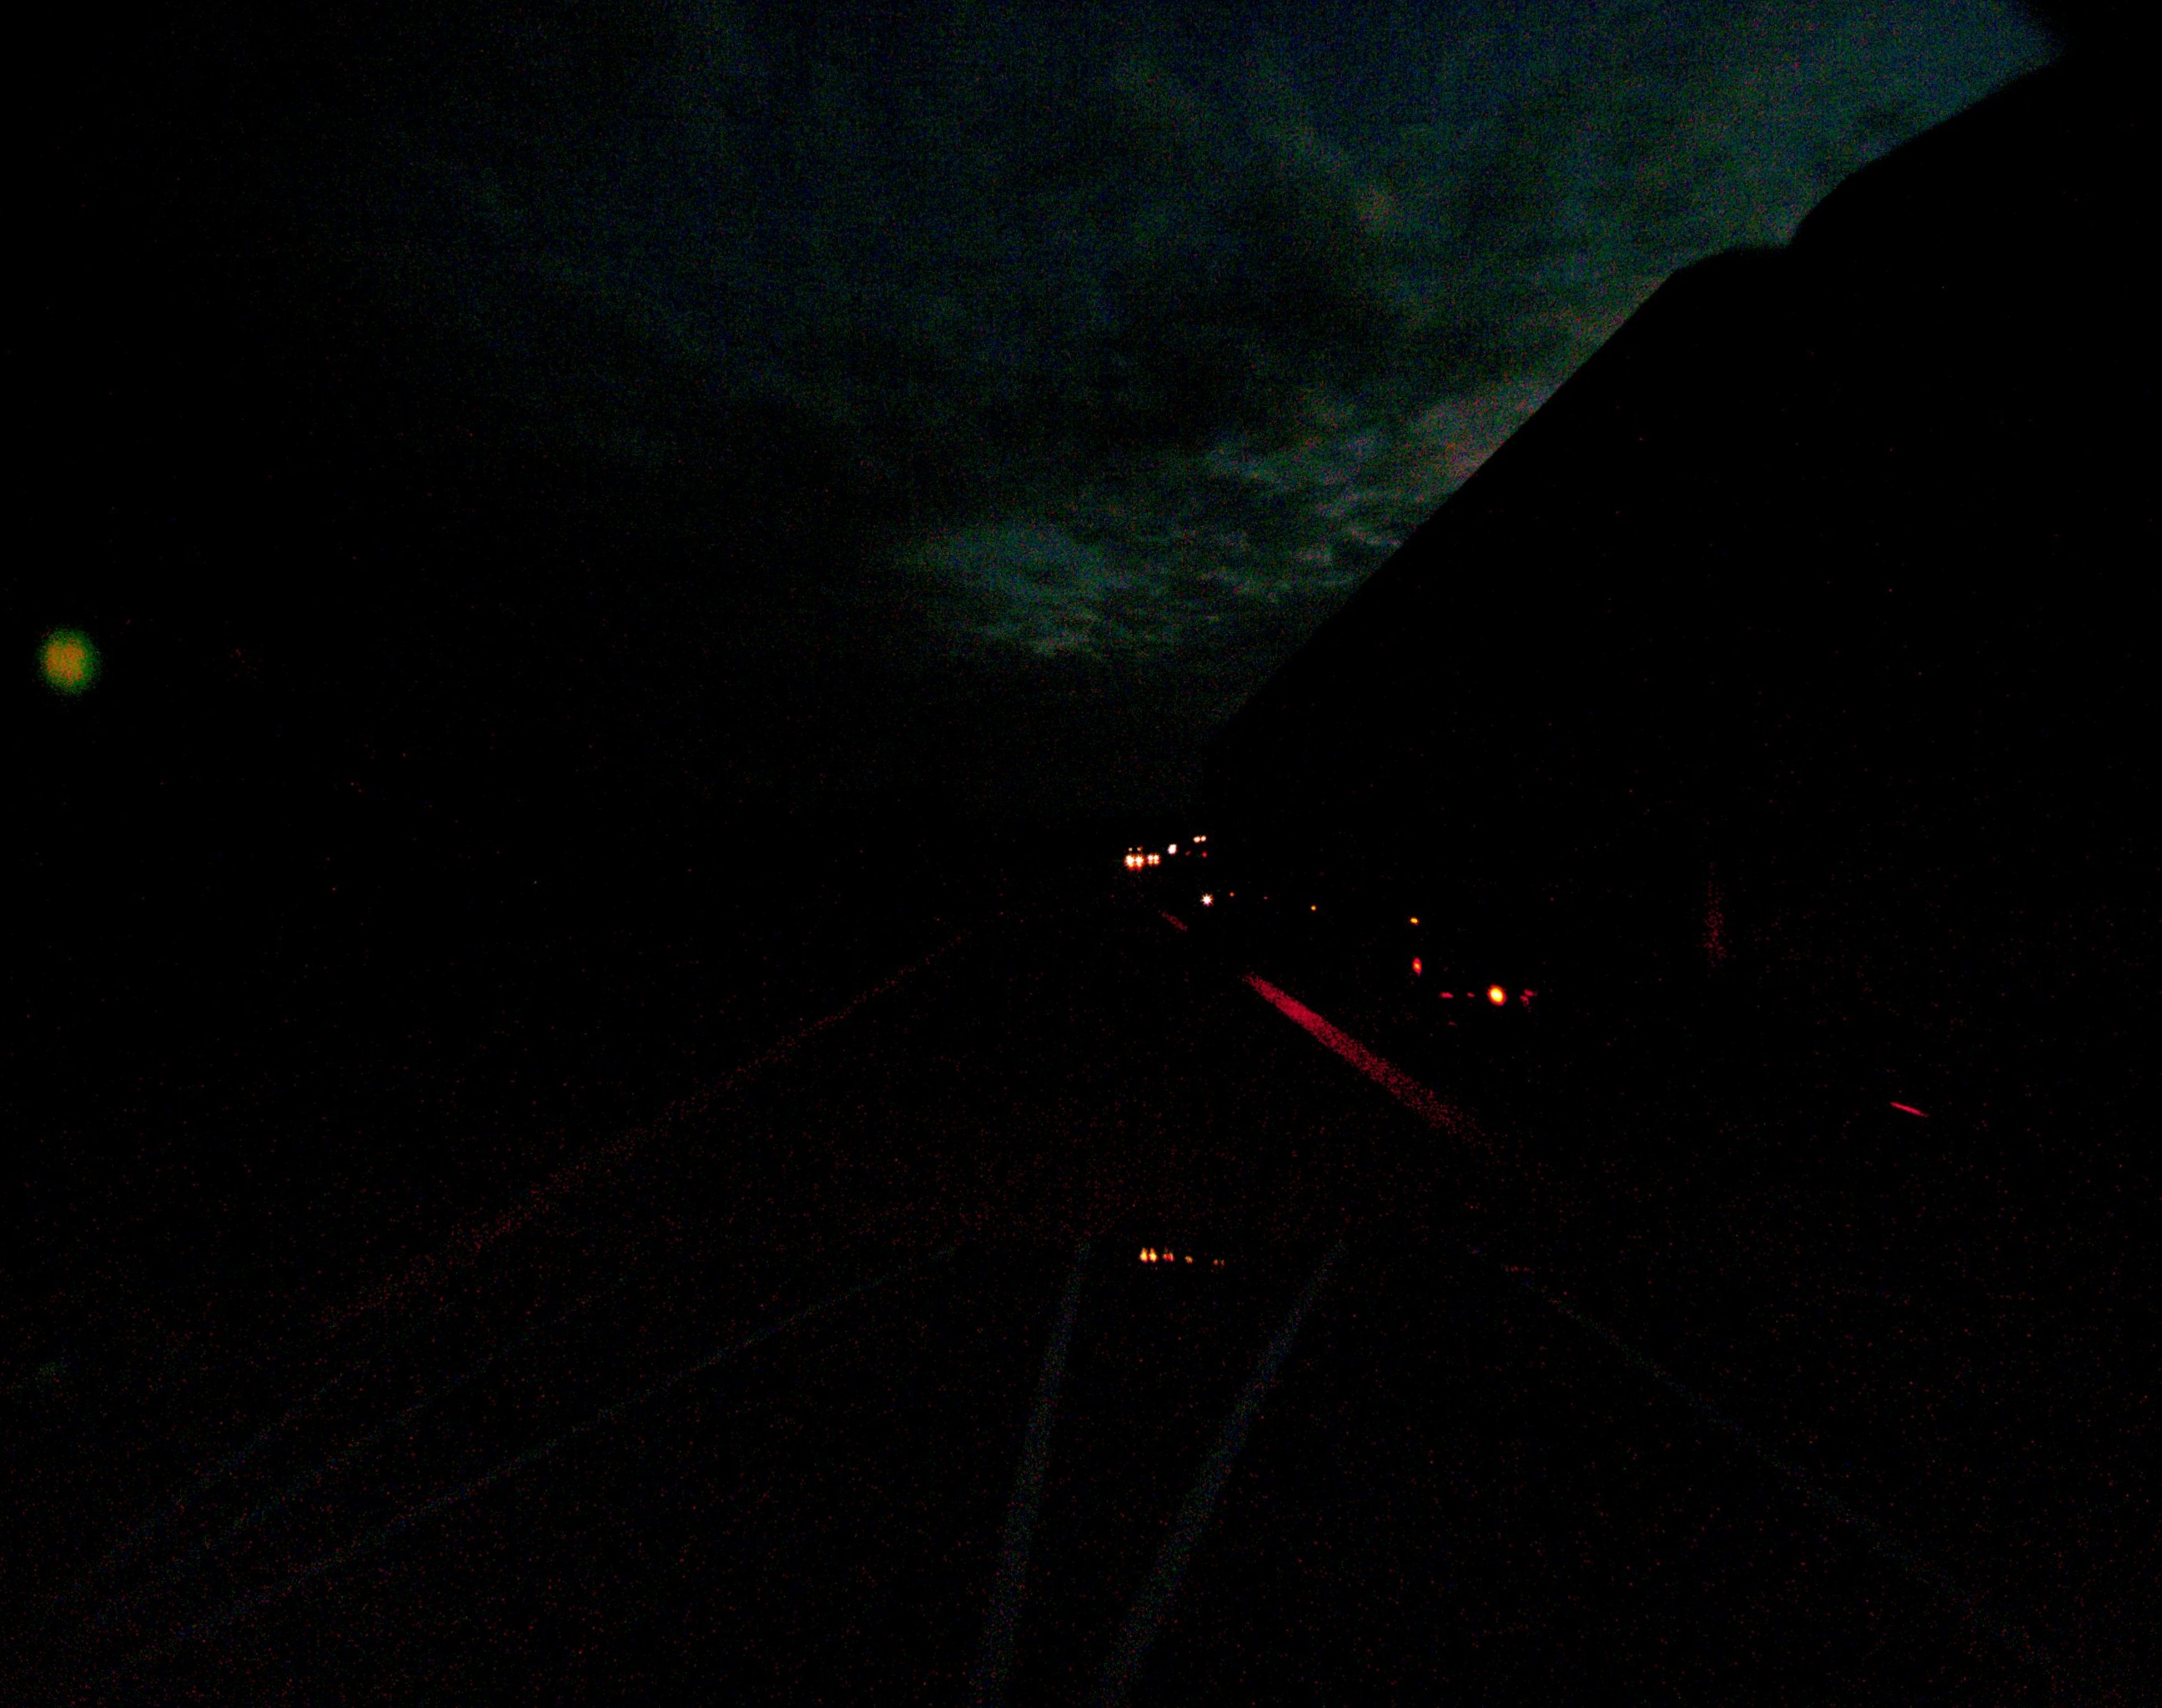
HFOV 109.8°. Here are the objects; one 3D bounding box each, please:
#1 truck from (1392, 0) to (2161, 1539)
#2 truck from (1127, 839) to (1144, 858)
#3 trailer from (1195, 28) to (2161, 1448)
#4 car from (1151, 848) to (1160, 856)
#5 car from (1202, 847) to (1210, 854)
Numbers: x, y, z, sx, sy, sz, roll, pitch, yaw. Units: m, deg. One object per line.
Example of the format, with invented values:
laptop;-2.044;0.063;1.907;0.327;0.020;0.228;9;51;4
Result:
truck;3.906;-0.355;2.965;2.786;3.879;6.154;-2;0;0
truck;12.946;-1.210;180.323;3.352;4.293;11.325;-2;0;1
trailer;3.932;-0.343;9.500;2.781;3.892;14.818;-2;0;0
car;20.738;-0.524;211.012;1.998;2.002;4.000;-2;0;1
car;40.096;-1.110;243.857;1.998;2.002;4.001;-1;0;5
